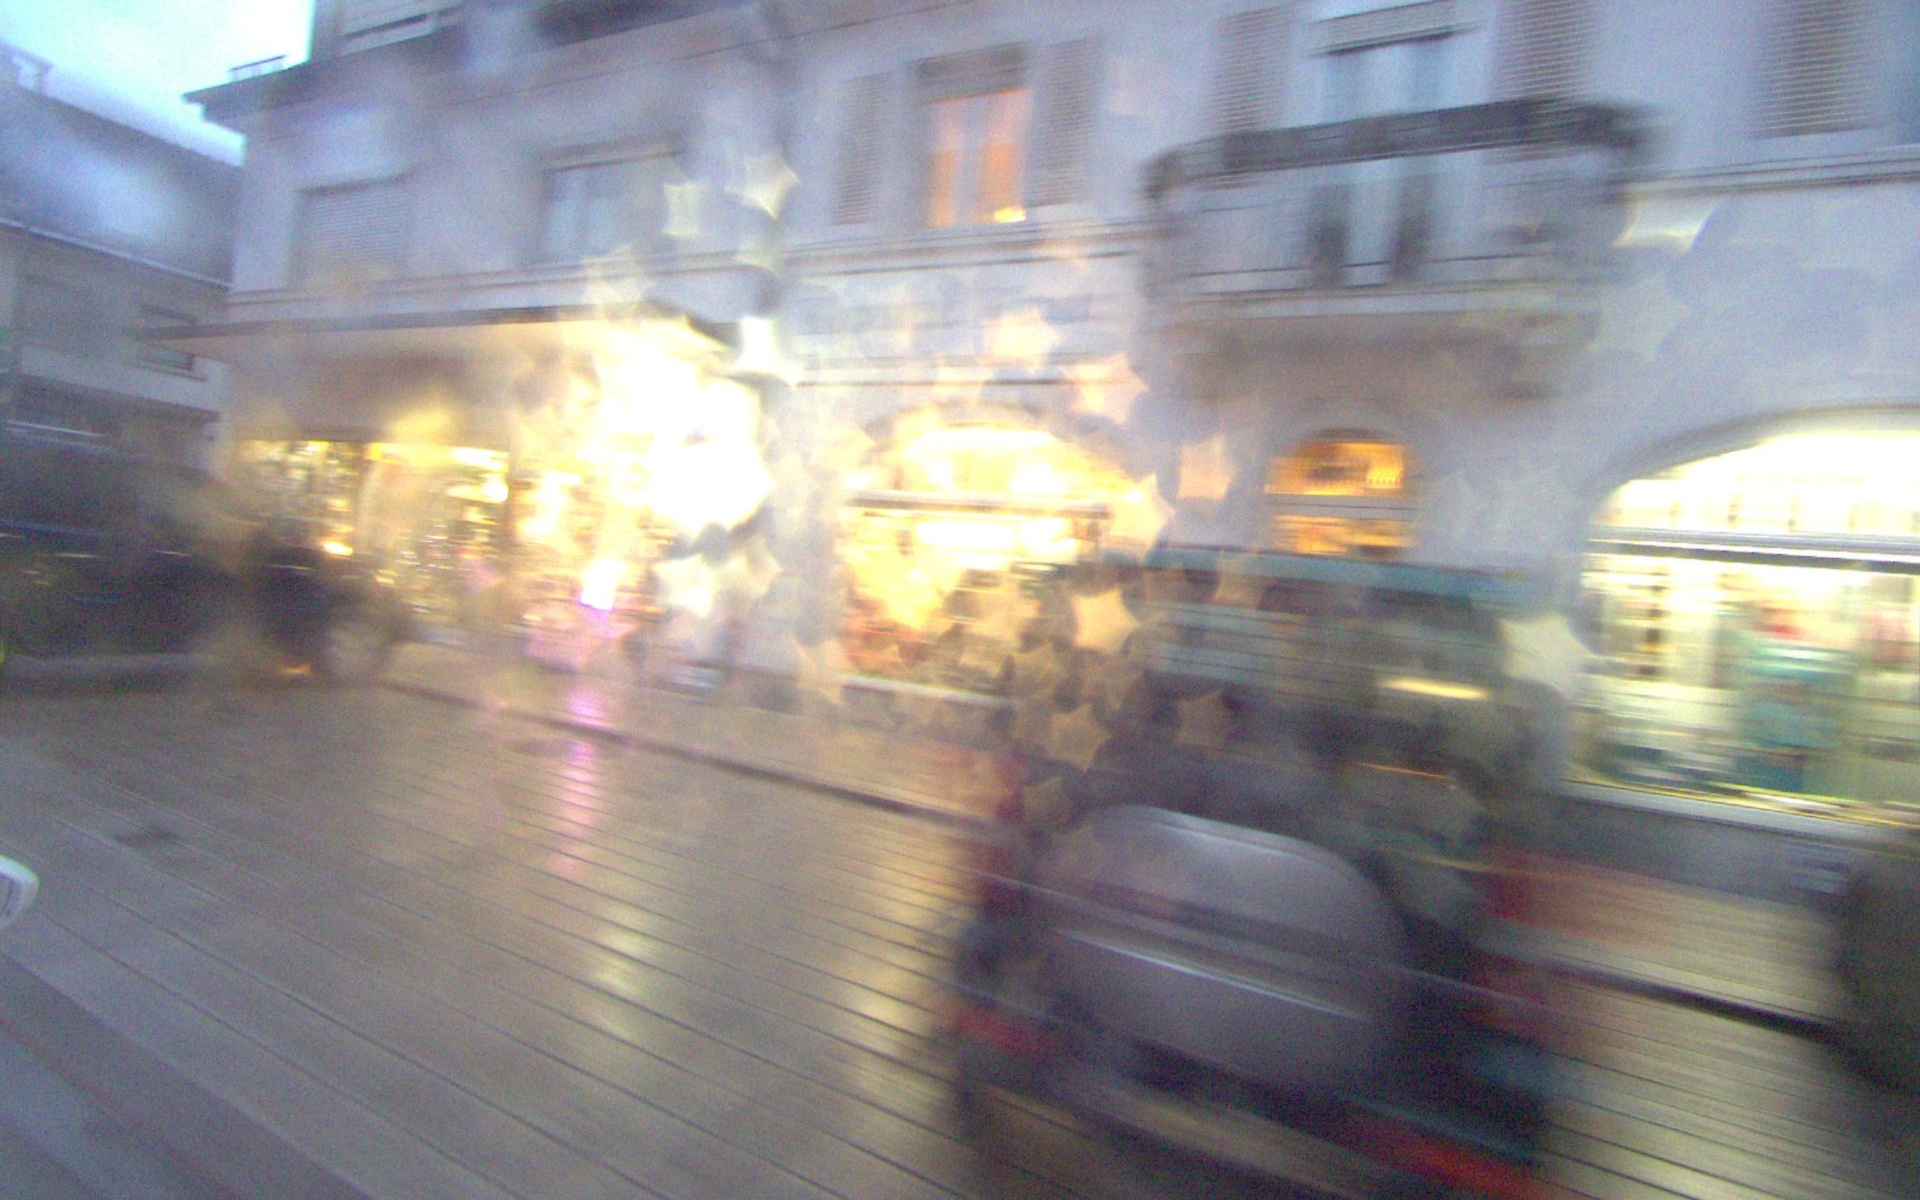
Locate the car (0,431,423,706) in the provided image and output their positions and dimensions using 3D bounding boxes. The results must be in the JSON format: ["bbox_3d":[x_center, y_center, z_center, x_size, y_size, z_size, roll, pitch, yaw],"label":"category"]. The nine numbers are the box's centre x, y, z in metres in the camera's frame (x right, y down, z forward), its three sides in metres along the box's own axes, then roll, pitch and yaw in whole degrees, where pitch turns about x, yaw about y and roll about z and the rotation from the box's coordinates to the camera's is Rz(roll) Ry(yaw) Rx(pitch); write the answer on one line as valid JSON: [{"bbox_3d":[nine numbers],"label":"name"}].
[{"bbox_3d":[-6.868,-0.274,7.615,1.910,1.798,4.614,7,1,25],"label":"car"}]

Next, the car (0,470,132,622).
[{"bbox_3d":[-11.367,-0.707,10.442,1.652,1.599,3.879,7,0,24],"label":"car"}]

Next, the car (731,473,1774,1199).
[{"bbox_3d":[1.043,0.705,3.452,1.685,1.703,3.510,7,2,24],"label":"car"}]

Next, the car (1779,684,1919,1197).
[{"bbox_3d":[3.503,1.131,2.030,1.865,1.492,4.472,7,1,28],"label":"car"}]
